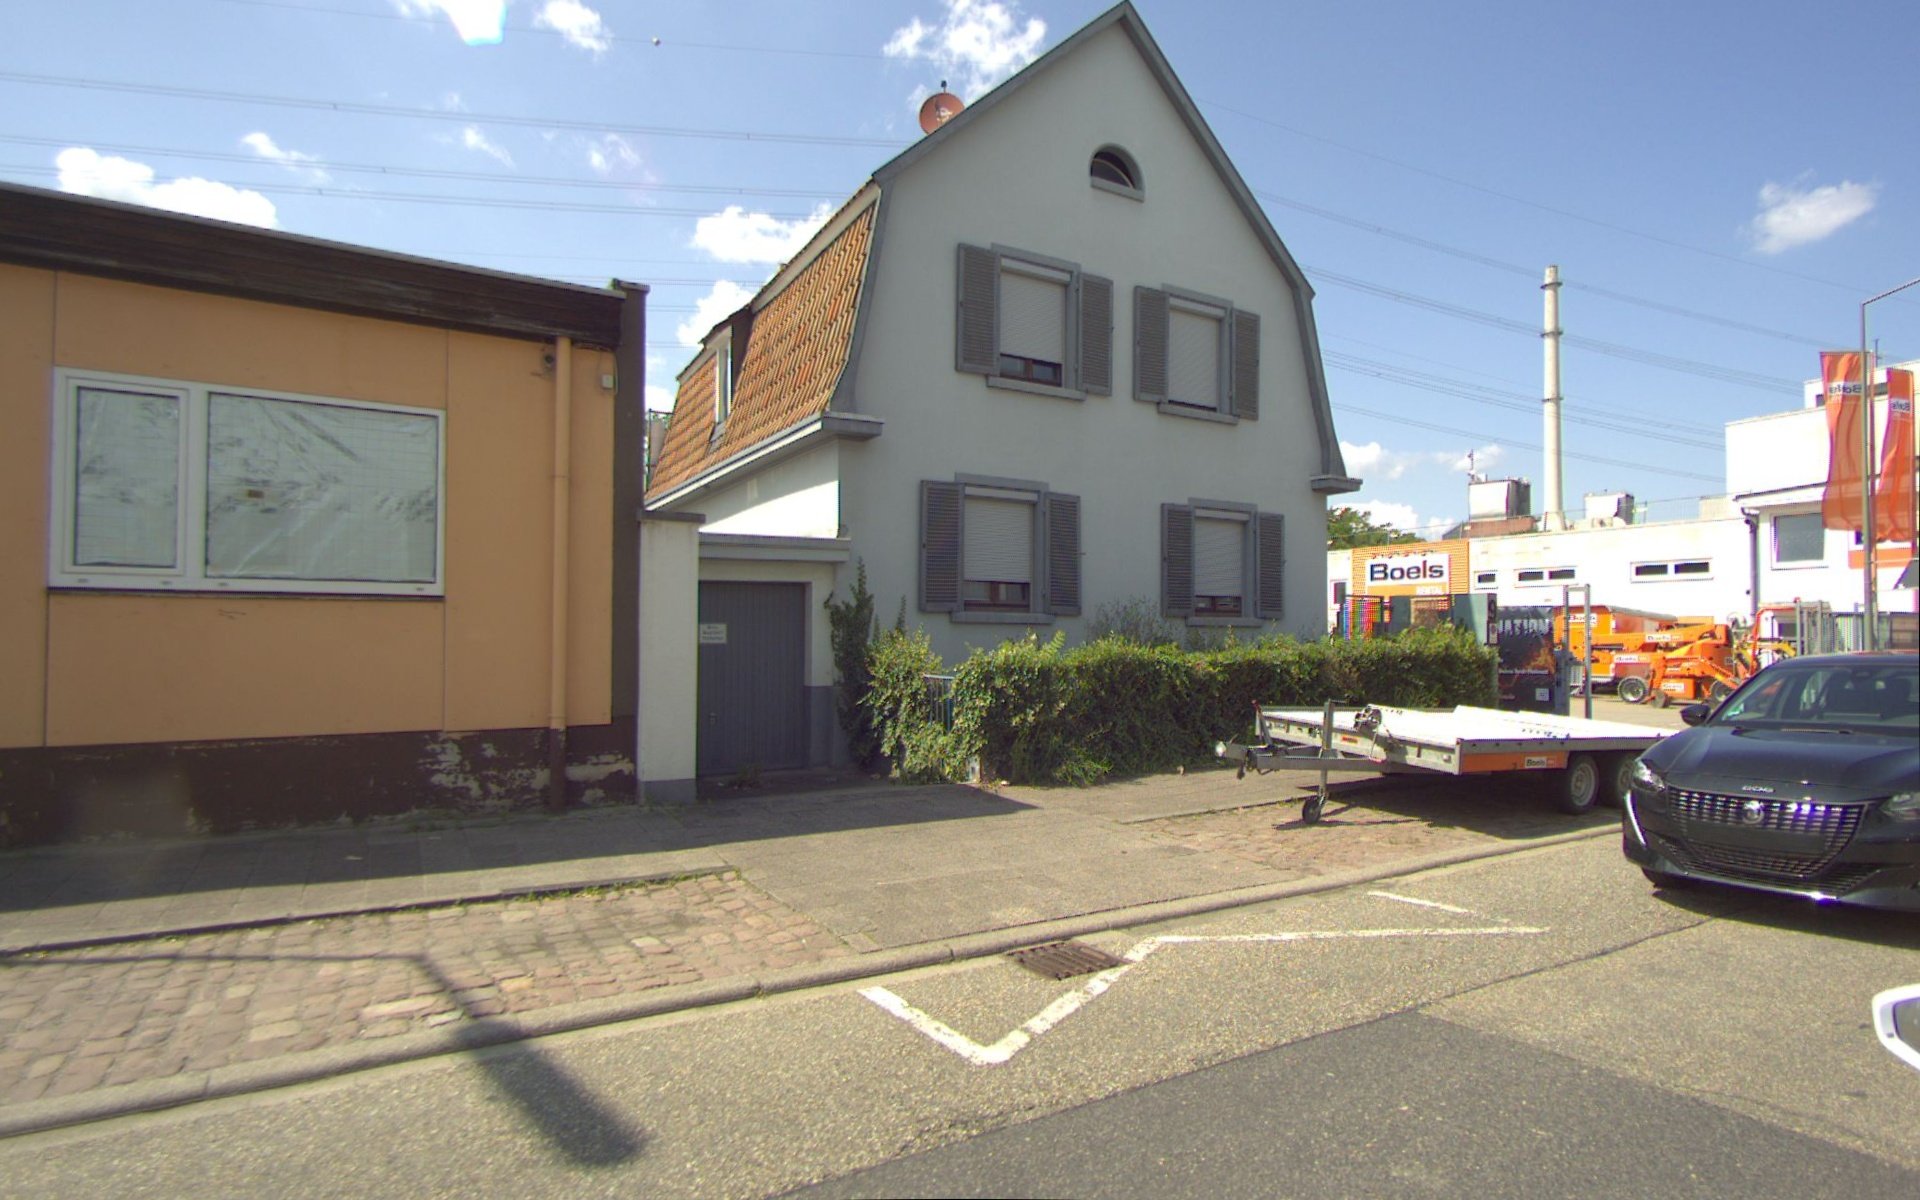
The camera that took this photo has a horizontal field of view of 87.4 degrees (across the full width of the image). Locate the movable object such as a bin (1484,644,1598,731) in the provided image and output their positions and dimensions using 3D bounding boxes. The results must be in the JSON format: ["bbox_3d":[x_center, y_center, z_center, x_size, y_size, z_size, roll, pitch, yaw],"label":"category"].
[{"bbox_3d":[10.100,1.493,17.487,1.176,1.446,1.308,2,-3,-33],"label":"movable object such as a bin"}]

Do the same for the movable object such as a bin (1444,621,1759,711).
[{"bbox_3d":[16.560,1.600,26.471,1.887,2.031,6.816,2,-2,-35],"label":"movable object such as a bin"}]

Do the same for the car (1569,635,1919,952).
[{"bbox_3d":[5.775,0.996,6.276,3.955,1.460,1.726,2,-4,-31],"label":"car"}]

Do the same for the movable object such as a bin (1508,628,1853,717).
[{"bbox_3d":[19.413,1.838,27.662,1.887,2.031,7.549,2,-2,-35],"label":"movable object such as a bin"}]

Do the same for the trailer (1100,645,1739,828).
[{"bbox_3d":[4.466,1.089,9.488,5.980,1.179,2.440,2,-1,-29],"label":"trailer"}]
